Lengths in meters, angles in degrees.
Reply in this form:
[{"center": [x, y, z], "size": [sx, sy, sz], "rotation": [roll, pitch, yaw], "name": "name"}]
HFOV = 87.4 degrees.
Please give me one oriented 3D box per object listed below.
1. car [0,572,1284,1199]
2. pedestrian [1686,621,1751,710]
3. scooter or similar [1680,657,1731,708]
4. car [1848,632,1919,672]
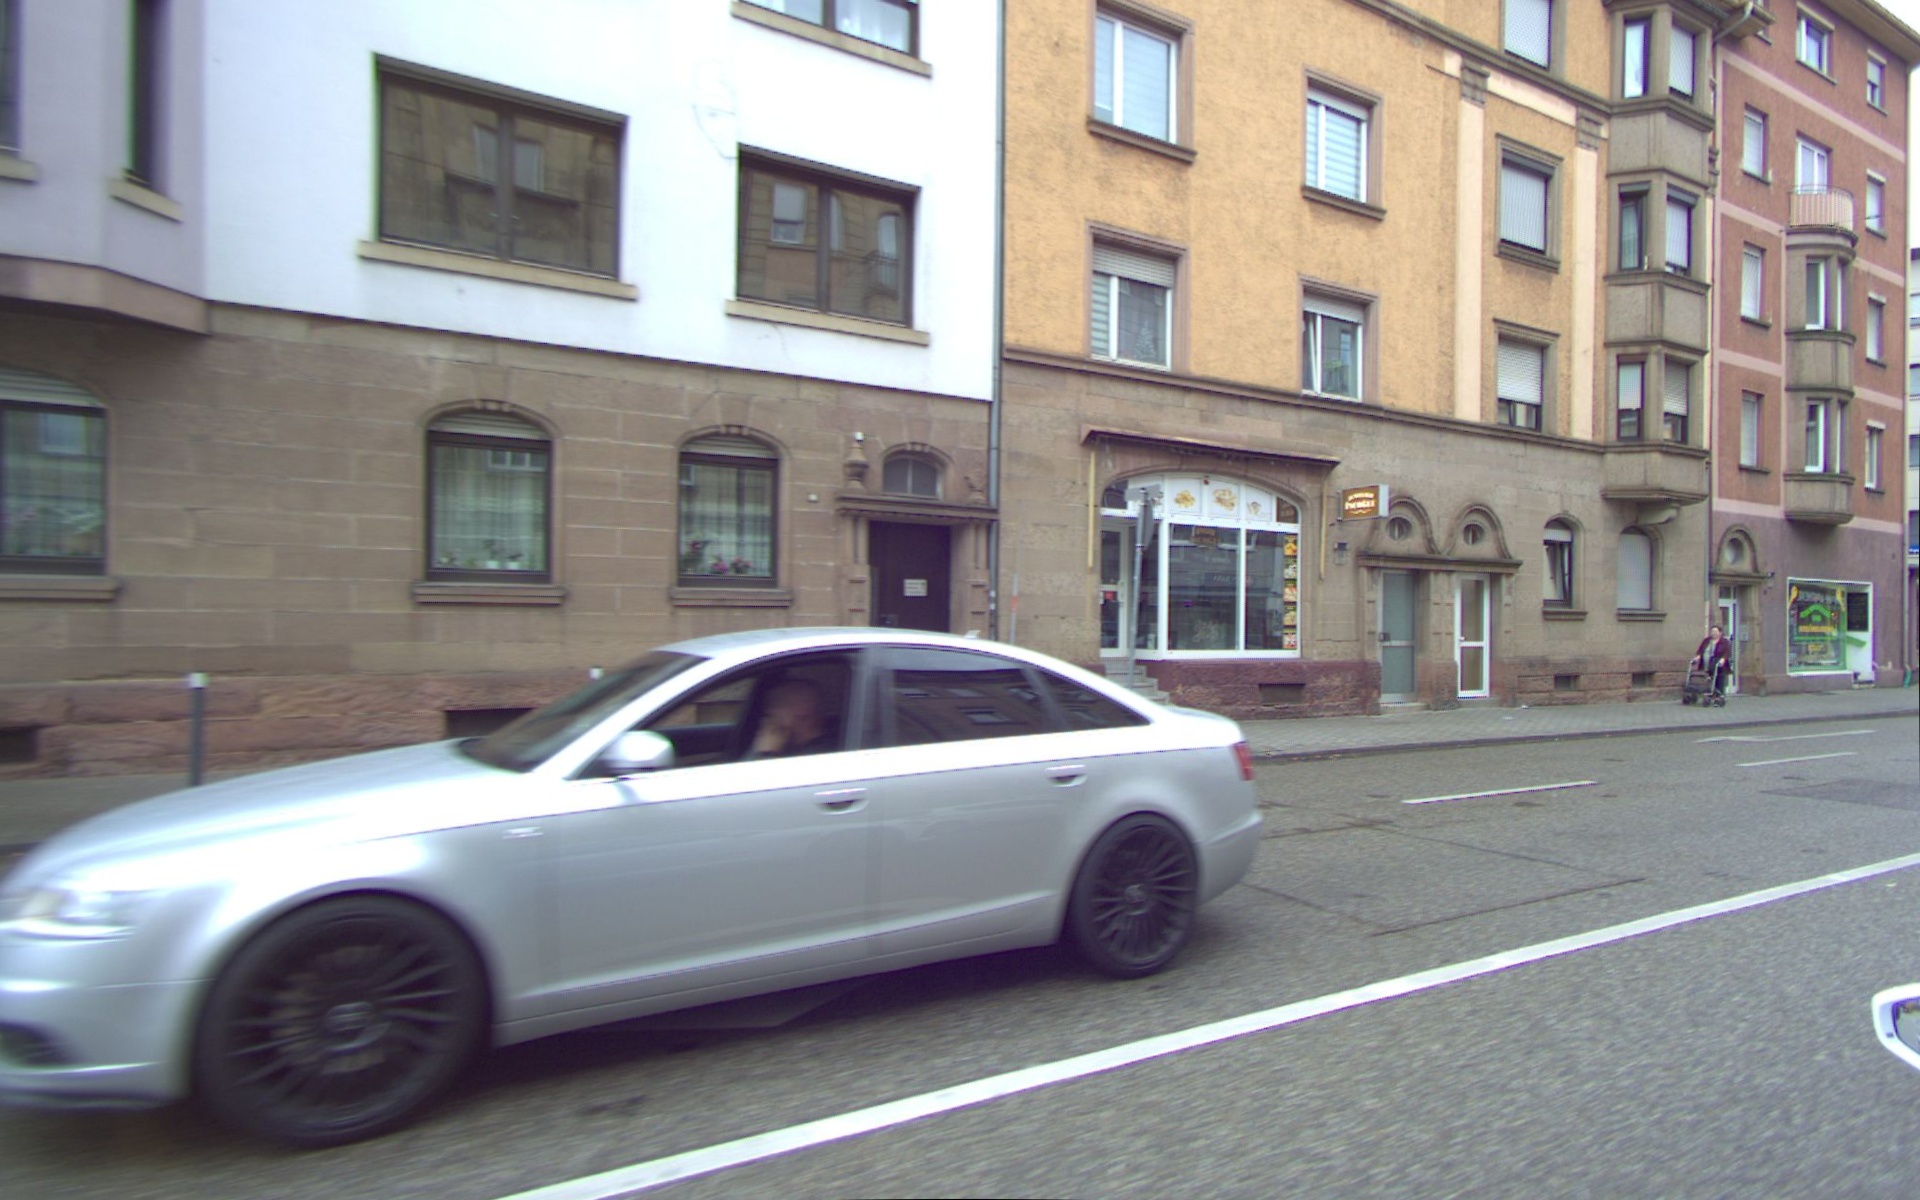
[{"center": [-0.976, 0.761, 4.206], "size": [4.505, 1.490, 1.934], "rotation": [2, -2, -30], "name": "car"}, {"center": [15.360, 1.305, 20.334], "size": [0.847, 1.701, 0.835], "rotation": [2, 1, -41], "name": "pedestrian"}, {"center": [14.833, 1.625, 19.978], "size": [0.477, 0.937, 0.706], "rotation": [2, 0, -41], "name": "scooter or similar"}, {"center": [39.329, 2.132, 40.847], "size": [4.564, 1.553, 1.901], "rotation": [0, -2, 33], "name": "car"}]
